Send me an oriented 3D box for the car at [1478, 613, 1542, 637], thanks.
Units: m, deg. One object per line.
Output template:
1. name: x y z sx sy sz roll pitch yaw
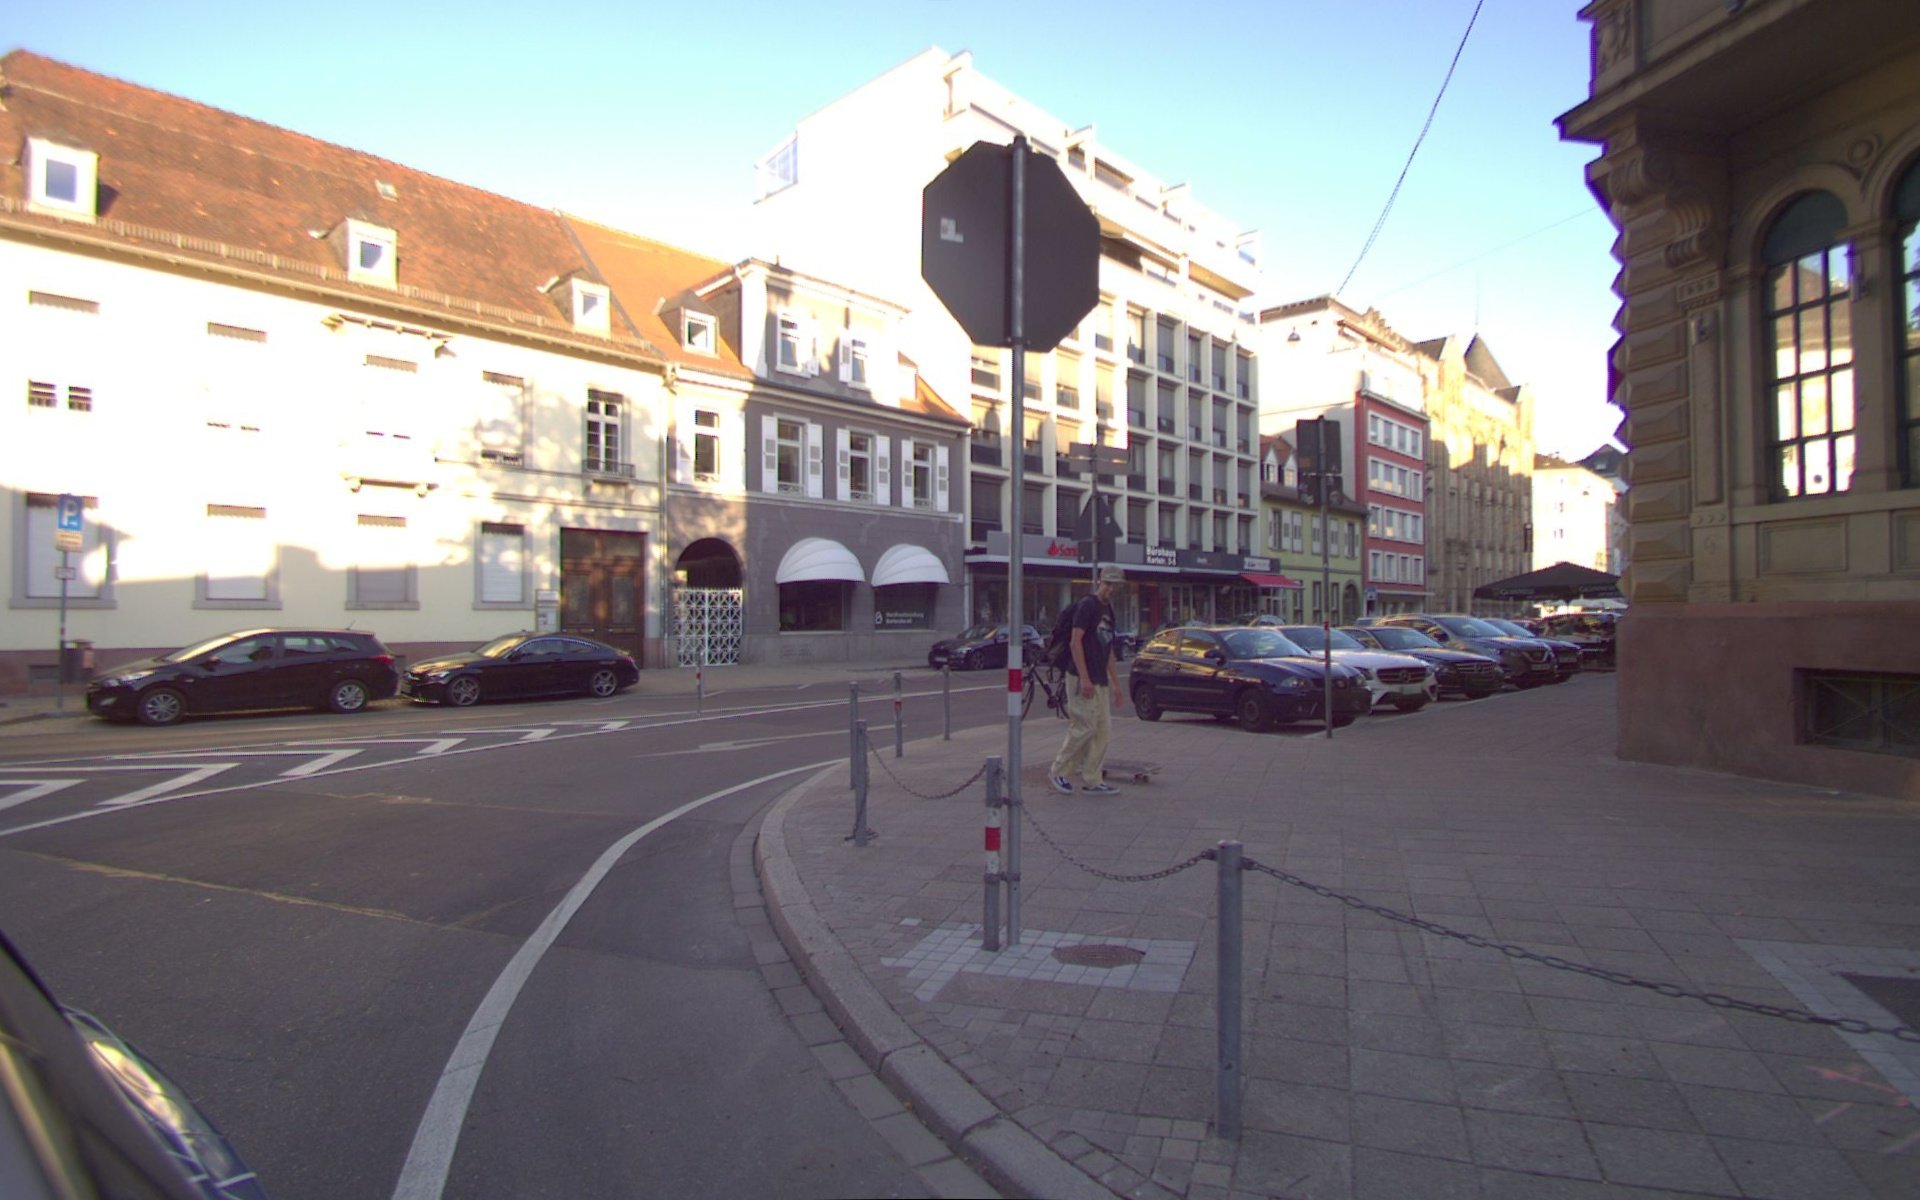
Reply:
1. car: 43.951 1.997 80.957 4.194 1.896 1.743 -1 -1 19

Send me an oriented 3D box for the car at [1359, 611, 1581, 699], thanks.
1. car: 10.638 1.096 21.457 1.762 1.669 4.064 1 -1 -21

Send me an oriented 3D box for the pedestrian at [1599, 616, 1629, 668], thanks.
1. pedestrian: 18.164 1.152 28.105 0.576 1.427 0.666 -2 -2 43

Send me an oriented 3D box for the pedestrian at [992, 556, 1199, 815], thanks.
1. pedestrian: 0.990 0.589 7.617 0.837 1.752 1.269 -1 -1 -36

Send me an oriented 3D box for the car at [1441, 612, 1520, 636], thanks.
1. car: 33.394 1.544 65.043 4.187 1.485 1.746 -1 -1 14

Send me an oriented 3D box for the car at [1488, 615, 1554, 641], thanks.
1. car: 39.903 1.988 72.126 3.807 1.766 1.743 -1 -1 19

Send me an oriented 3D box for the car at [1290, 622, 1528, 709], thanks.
1. car: 8.496 1.175 19.613 1.681 1.458 4.265 1 -1 -21

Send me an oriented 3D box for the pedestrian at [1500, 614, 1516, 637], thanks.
1. pedestrian: 44.667 2.063 82.503 0.997 1.813 0.851 1 -2 -42

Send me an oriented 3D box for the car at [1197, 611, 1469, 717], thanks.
1. car: 6.075 1.055 17.206 1.738 1.523 4.643 0 -3 -19

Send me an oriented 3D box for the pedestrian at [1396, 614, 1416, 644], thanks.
1. pedestrian: 29.538 1.898 66.977 0.997 1.959 0.851 1 -2 -42

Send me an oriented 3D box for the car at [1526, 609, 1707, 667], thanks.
1. car: 21.579 1.228 33.554 1.875 1.746 4.857 1 -2 -20

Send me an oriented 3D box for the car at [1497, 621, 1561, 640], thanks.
1. car: 41.705 2.263 74.280 3.807 1.357 1.728 -1 -3 19

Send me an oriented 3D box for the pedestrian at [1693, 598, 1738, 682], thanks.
1. pedestrian: 14.884 0.782 19.933 0.578 1.621 0.514 -4 -4 44

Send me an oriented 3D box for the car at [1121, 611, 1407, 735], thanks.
1. car: 4.065 1.021 14.244 1.710 1.472 3.875 0 -4 -23

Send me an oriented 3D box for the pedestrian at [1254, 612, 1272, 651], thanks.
1. pedestrian: 14.967 1.558 49.975 0.612 1.901 0.709 -2 -2 42

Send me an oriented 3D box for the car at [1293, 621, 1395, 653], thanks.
1. car: 18.141 1.731 47.972 4.174 1.450 1.752 0 -1 4

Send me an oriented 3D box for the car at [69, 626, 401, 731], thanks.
1. car: -12.265 1.246 17.342 1.807 1.553 4.367 -3 -3 43

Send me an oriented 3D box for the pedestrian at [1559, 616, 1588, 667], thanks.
1. pedestrian: 17.480 1.179 28.826 0.576 1.427 0.666 -2 -2 43

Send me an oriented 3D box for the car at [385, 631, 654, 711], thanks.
1. car: -8.934 1.379 20.851 1.779 1.405 4.787 -3 -3 44

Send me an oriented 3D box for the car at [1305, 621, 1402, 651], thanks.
1. car: 19.619 1.802 50.603 4.181 1.450 1.749 -1 -1 10

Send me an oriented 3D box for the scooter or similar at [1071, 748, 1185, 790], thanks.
1. scooter or similar: 1.353 1.366 8.230 0.411 0.208 0.884 -1 -2 -36

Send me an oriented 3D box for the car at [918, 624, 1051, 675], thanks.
1. car: 0.817 1.485 31.391 1.748 1.458 4.188 -2 -2 44

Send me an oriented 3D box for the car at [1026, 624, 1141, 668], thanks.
1. car: 4.363 1.558 35.193 1.748 1.398 4.438 -2 -2 42

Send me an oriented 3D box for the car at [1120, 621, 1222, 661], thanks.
1. car: 8.298 1.579 39.566 1.749 1.457 4.492 -2 -2 44

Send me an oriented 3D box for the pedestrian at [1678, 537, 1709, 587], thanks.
1. pedestrian: 19.845 -1.022 27.382 0.574 1.318 0.567 -2 -2 44

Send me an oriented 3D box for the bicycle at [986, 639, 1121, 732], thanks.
1. bicycle: 1.282 1.135 13.701 1.775 1.134 0.729 0 -4 -38

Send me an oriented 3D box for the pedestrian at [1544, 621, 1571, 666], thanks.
1. pedestrian: 19.228 1.404 32.574 0.532 1.427 0.578 1 -2 -35
